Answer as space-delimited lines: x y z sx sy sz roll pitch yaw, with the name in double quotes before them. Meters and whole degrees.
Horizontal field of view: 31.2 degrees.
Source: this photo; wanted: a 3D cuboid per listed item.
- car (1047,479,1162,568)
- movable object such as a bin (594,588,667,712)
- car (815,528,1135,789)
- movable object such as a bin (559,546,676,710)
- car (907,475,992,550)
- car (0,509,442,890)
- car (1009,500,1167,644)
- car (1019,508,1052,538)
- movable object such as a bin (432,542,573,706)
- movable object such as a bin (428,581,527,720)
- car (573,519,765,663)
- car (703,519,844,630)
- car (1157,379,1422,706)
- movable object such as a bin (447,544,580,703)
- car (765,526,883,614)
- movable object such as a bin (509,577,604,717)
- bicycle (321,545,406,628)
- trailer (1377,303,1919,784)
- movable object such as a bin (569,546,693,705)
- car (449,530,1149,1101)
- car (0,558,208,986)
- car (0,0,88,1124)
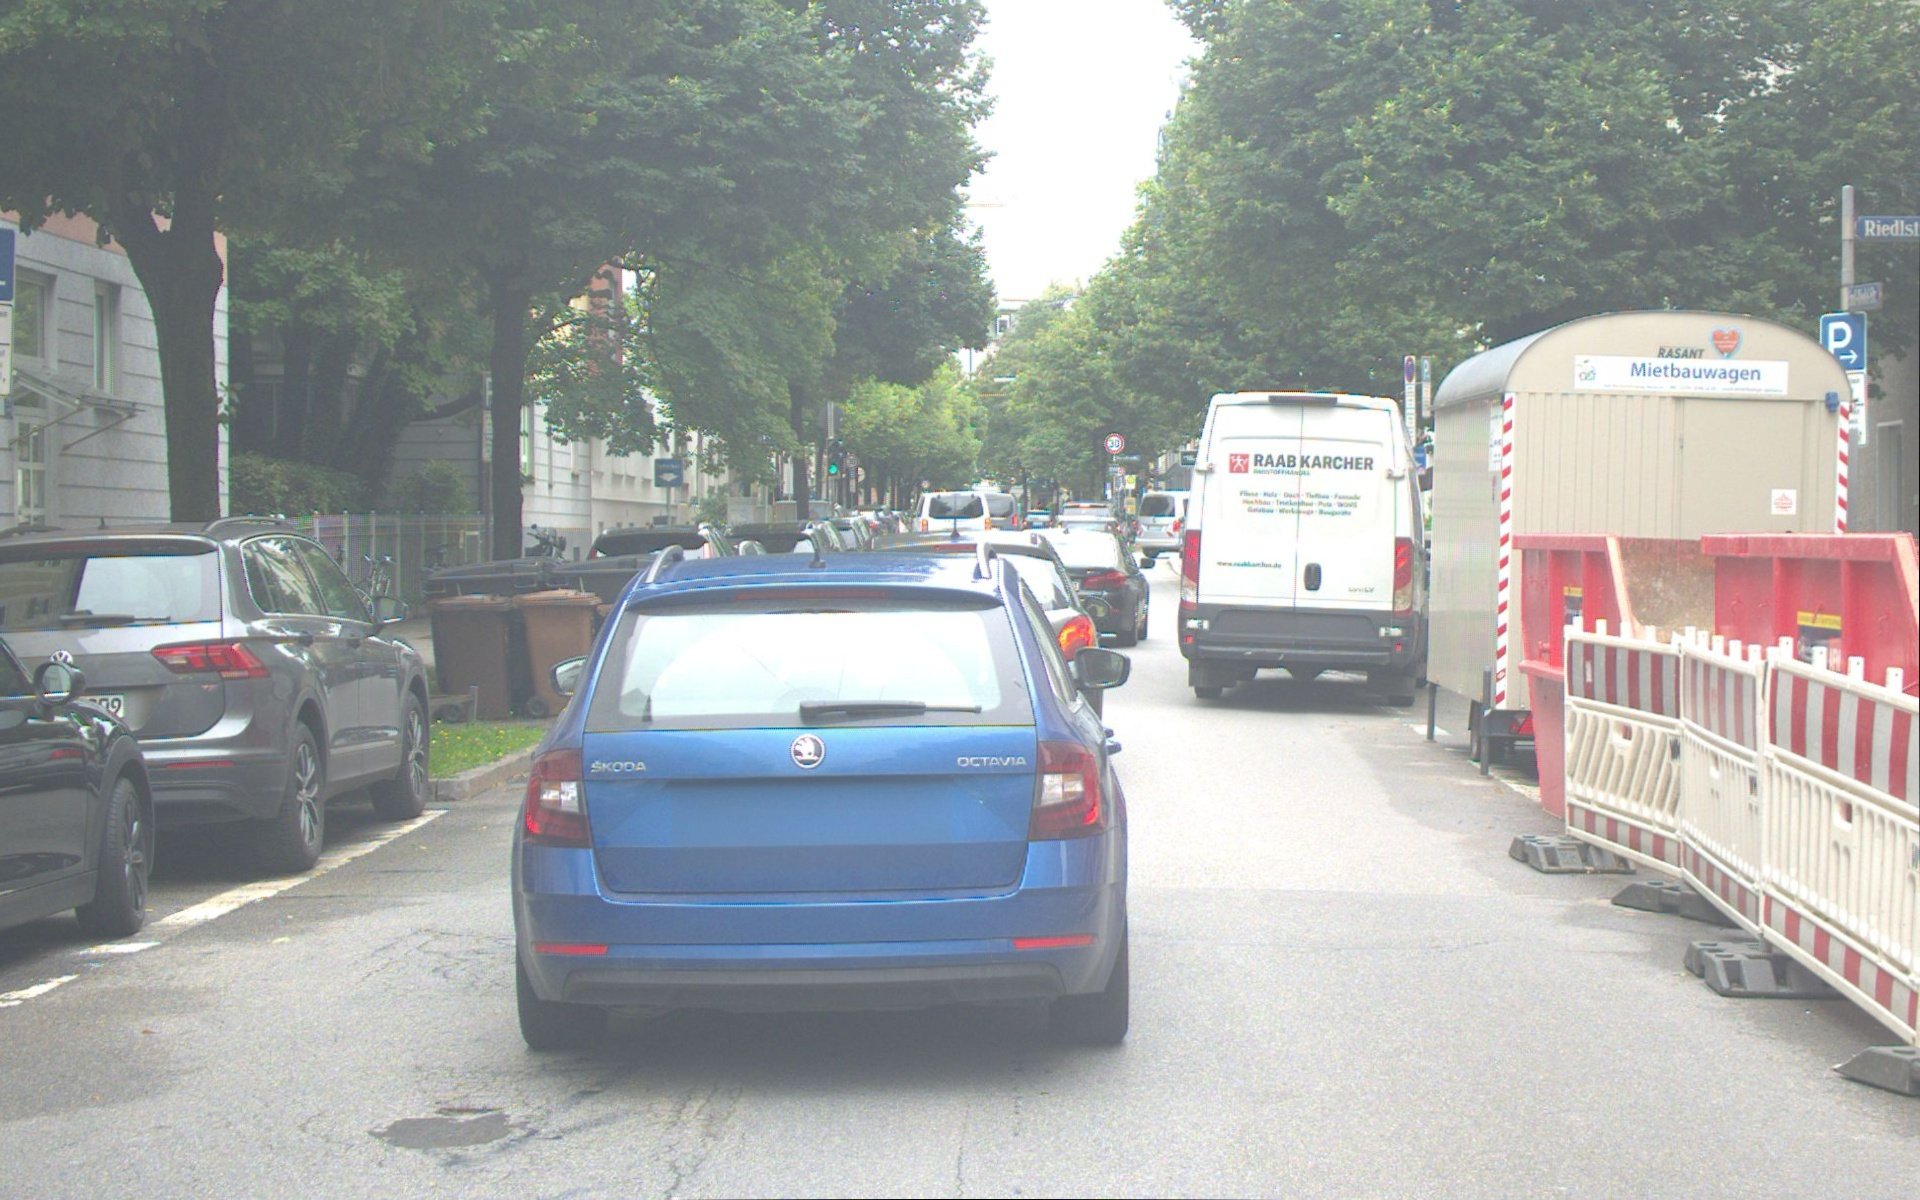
"car" 2.853 -1.554 68.786 1.867 1.690 4.348 1 2 -3
"movable object such as a bin" -2.810 0.418 29.320 0.546 1.017 0.636 -2 1 -2
"car" 0.175 0.294 21.105 1.741 1.417 3.664 2 1 3
"movable object such as a bin" -2.998 0.230 30.176 0.918 1.372 1.080 -2 1 -2
"car" -0.300 -2.304 89.706 1.867 1.863 4.348 1 2 -4
"car" -3.837 0.386 16.881 1.785 1.622 4.185 -1 1 2
"car" 1.573 -0.395 43.630 1.867 1.690 4.347 1 2 1
"car" 4.333 -4.459 199.080 1.867 1.733 4.347 -1 1 1
"movable object such as a bin" -3.996 0.197 30.118 1.081 1.372 1.084 -2 1 -2
"movable object such as a bin" -4.098 0.421 29.238 0.721 1.134 0.659 -2 1 -2
"car" -3.160 -0.137 37.997 1.812 1.473 4.000 1 1 -1
"car" -2.601 -0.395 48.716 1.812 1.473 4.000 1 1 -1
"car" 3.068 -0.512 31.194 2.113 2.654 5.498 2 1 7
"movable object such as a bin" -4.043 0.198 31.220 1.057 1.372 1.096 -2 1 -2
"car" -2.362 -0.556 60.755 1.812 1.473 4.000 1 1 1
"movable object such as a bin" -3.430 0.398 29.275 0.711 1.144 0.636 -2 1 -2
"bicycle" -8.064 -0.192 46.552 0.635 1.063 2.387 -1 1 2
"trailer" 4.545 -0.386 24.057 2.502 2.830 6.901 1 1 1
"movable object such as a bin" -2.985 0.220 31.274 1.020 1.372 1.104 -2 1 -2
"car" -0.316 0.515 10.953 1.789 1.455 4.314 0 1 3
"car" -3.995 0.570 12.078 1.699 1.404 3.708 0 1 3
"car" -3.919 -0.503 5.192 2.812 3.804 8.723 0 1 1
